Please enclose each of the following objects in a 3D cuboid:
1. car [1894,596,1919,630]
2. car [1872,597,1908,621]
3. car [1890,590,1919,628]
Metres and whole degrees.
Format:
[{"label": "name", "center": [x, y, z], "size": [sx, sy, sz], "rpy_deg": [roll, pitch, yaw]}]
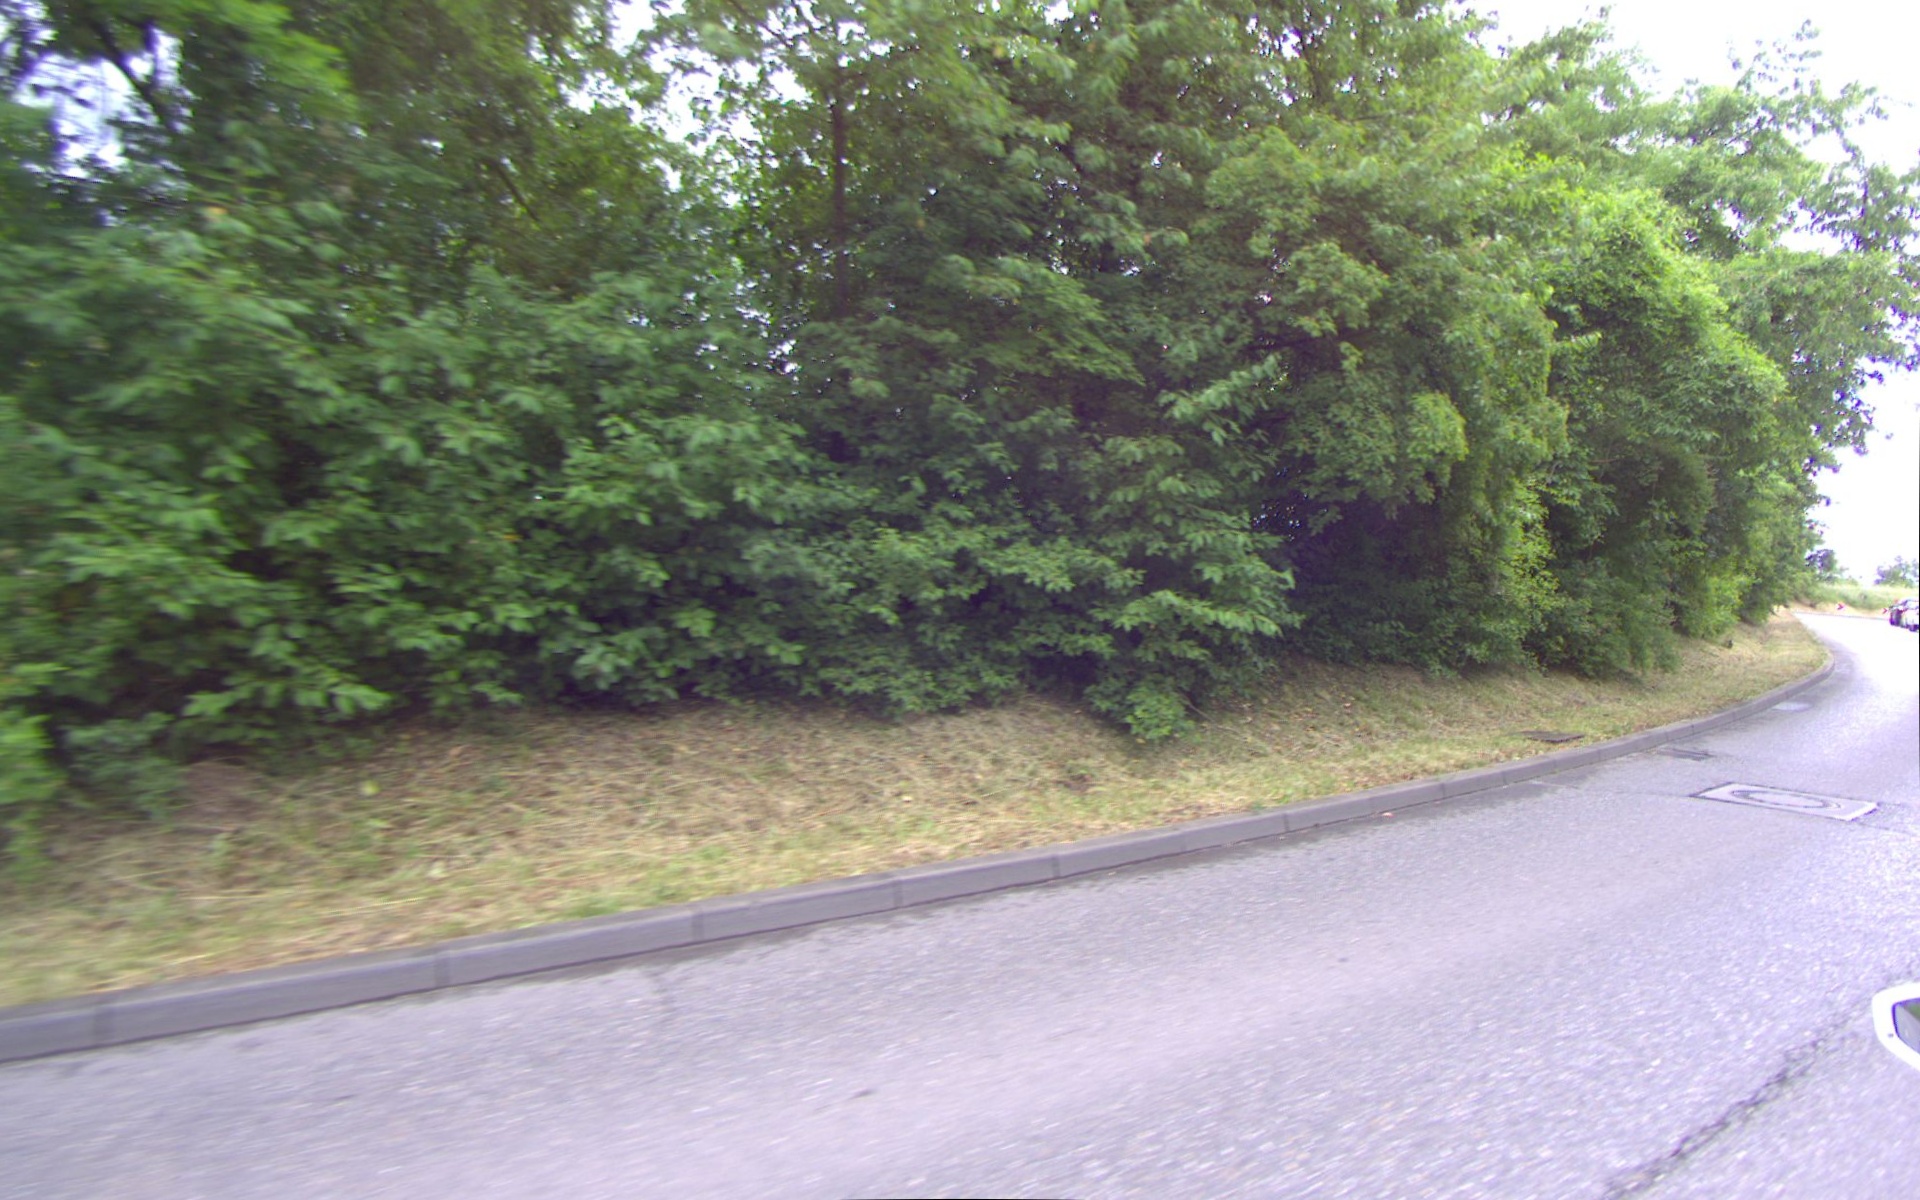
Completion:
[{"label": "car", "center": [46.287, 0.606, 48.298], "size": [1.715, 1.577, 3.526], "rpy_deg": [3, 2, 40]}, {"label": "car", "center": [63.637, 0.598, 68.747], "size": [1.717, 1.547, 3.619], "rpy_deg": [3, 2, 43]}, {"label": "car", "center": [51.148, 0.479, 53.763], "size": [1.715, 1.961, 3.526], "rpy_deg": [3, 2, 40]}]
